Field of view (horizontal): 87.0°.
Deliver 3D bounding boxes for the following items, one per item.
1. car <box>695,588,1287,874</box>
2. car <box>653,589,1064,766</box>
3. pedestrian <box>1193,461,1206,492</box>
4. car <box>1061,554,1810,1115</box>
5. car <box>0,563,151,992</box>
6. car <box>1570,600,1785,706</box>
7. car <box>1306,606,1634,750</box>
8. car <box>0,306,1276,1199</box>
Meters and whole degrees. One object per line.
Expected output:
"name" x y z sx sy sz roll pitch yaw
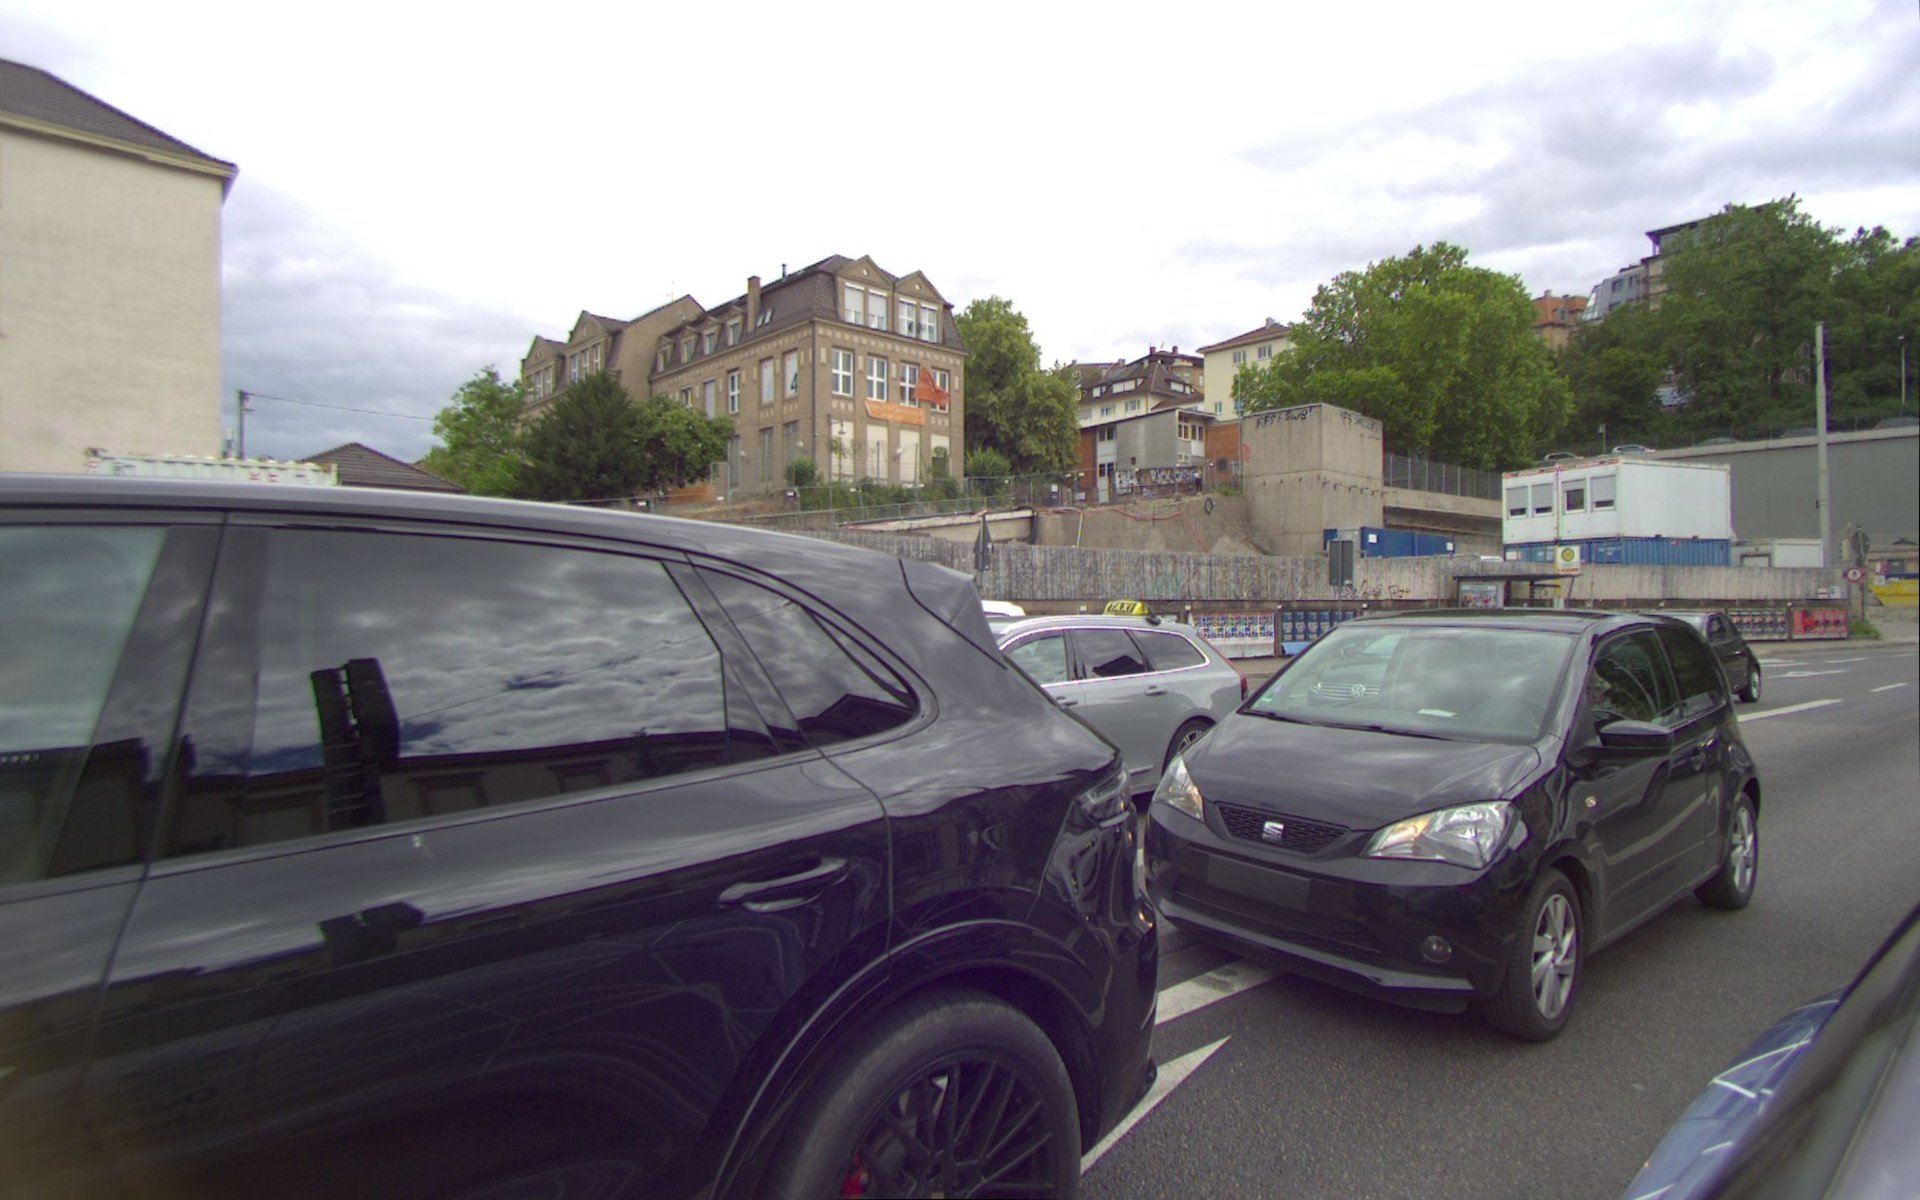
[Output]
"car" 0.407 0.663 7.329 4.142 1.484 1.825 -1 0 -40
"car" -0.931 0.639 10.593 4.004 1.484 1.824 -1 0 -42
"pedestrian" 14.384 -7.411 60.743 0.558 1.817 0.555 0 0 -30
"car" 2.419 0.636 4.708 3.841 1.575 1.661 -1 0 -39
"car" -5.055 0.641 3.447 3.581 1.529 1.826 -1 0 -39
"car" 11.302 0.765 15.881 3.711 1.478 1.721 1 -2 -38
"car" 6.032 0.775 11.794 4.139 1.381 1.827 1 0 -38
"car" -1.650 0.560 1.656 4.497 1.689 1.998 -1 0 -39
